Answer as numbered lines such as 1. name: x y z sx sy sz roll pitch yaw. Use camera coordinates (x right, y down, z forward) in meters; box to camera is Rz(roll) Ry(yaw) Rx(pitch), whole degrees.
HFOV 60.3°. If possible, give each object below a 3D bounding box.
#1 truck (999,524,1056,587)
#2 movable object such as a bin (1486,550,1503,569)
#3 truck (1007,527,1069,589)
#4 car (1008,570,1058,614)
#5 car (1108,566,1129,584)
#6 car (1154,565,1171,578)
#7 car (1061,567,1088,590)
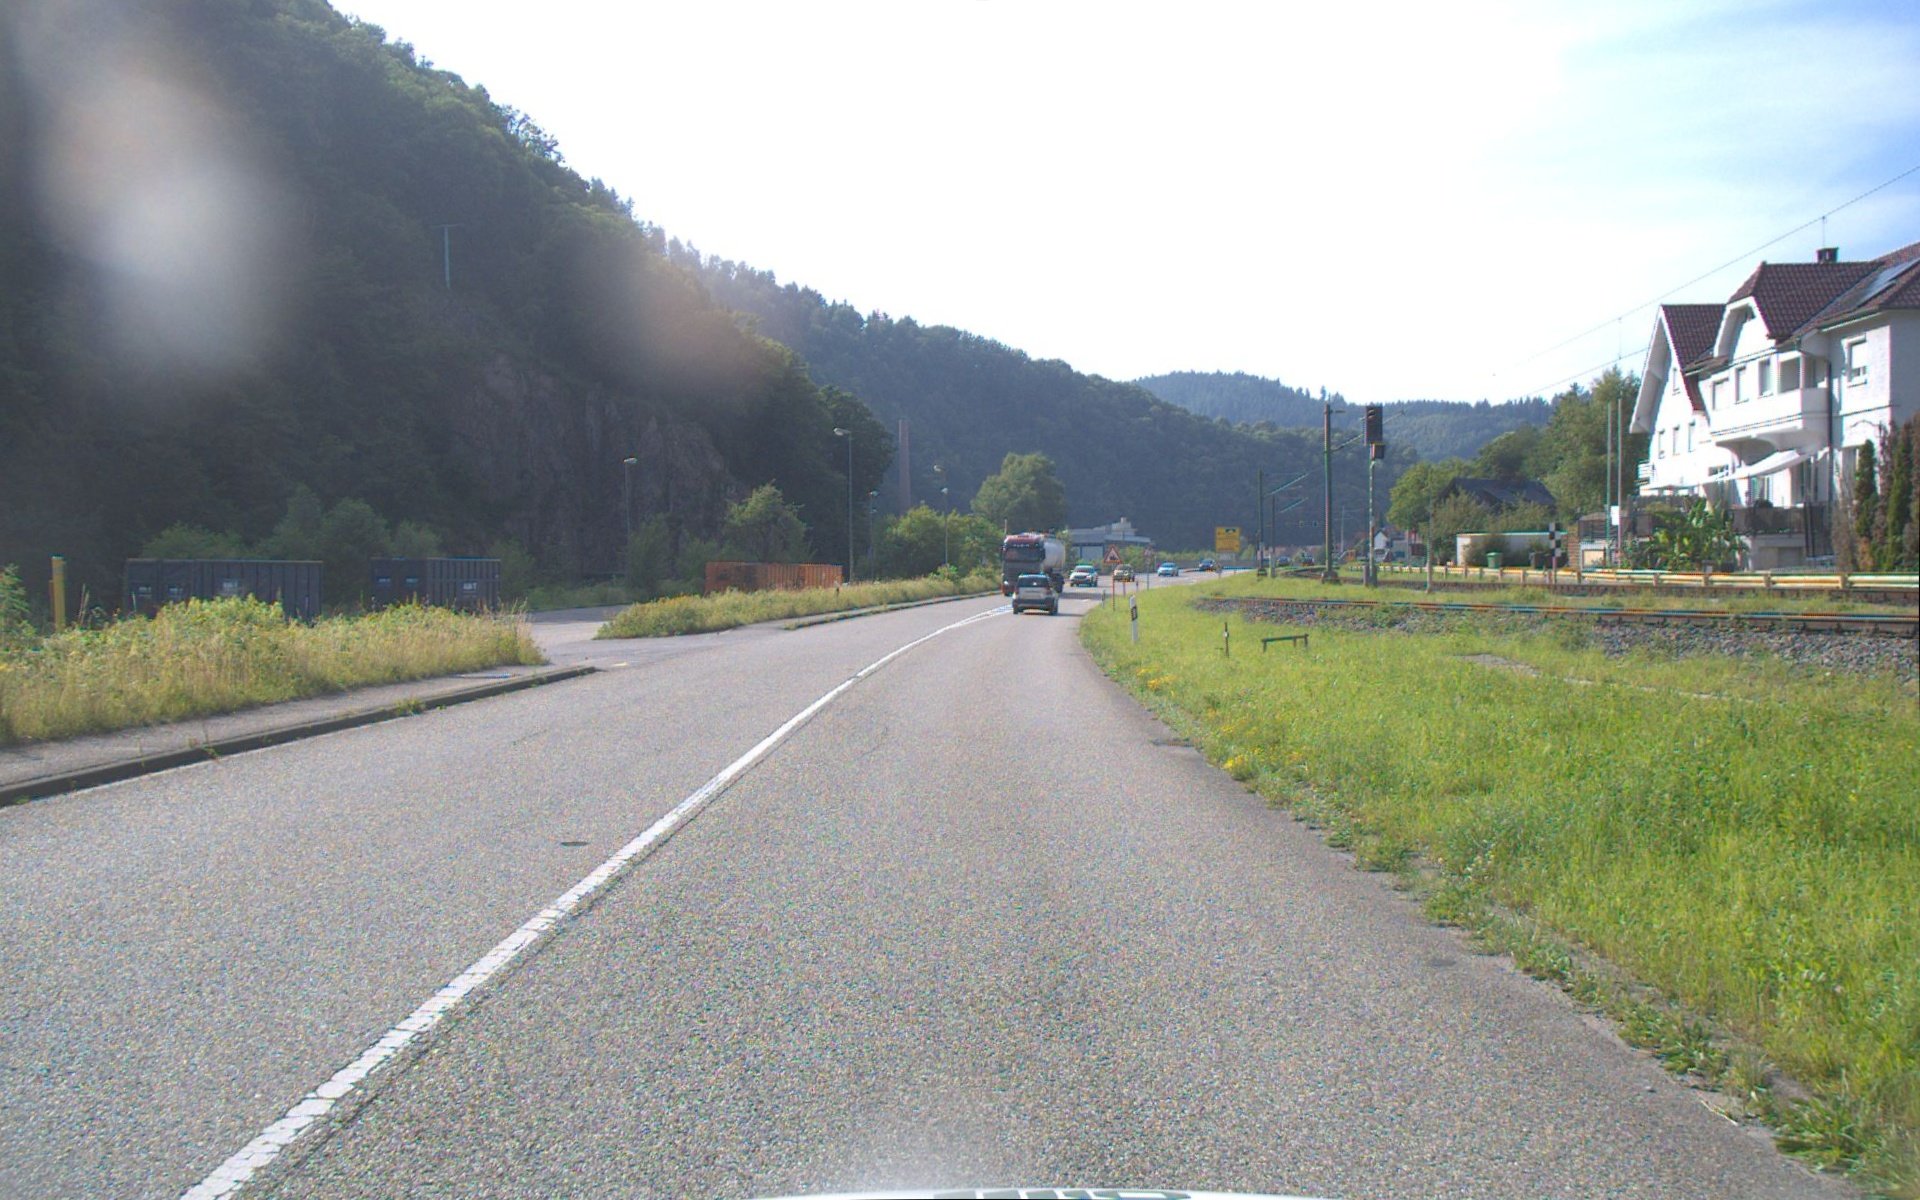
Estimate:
1. truck: 4.396 -2.842 106.120 2.691 3.902 8.206 1 1 9
2. movable object such as a bin: 31.185 -2.358 96.530 0.790 1.068 0.913 1 2 10
3. truck: 5.453 -2.853 112.739 2.691 3.902 14.576 1 1 9
4. car: 3.152 -0.367 70.517 1.952 1.753 3.992 -3 1 4
5. car: 15.001 -2.408 156.715 1.687 1.653 3.800 1 2 9
6. car: 22.337 -3.139 182.417 1.740 1.371 4.515 2 2 8
7. car: 9.504 -1.792 136.768 1.951 1.789 4.473 1 1 6
